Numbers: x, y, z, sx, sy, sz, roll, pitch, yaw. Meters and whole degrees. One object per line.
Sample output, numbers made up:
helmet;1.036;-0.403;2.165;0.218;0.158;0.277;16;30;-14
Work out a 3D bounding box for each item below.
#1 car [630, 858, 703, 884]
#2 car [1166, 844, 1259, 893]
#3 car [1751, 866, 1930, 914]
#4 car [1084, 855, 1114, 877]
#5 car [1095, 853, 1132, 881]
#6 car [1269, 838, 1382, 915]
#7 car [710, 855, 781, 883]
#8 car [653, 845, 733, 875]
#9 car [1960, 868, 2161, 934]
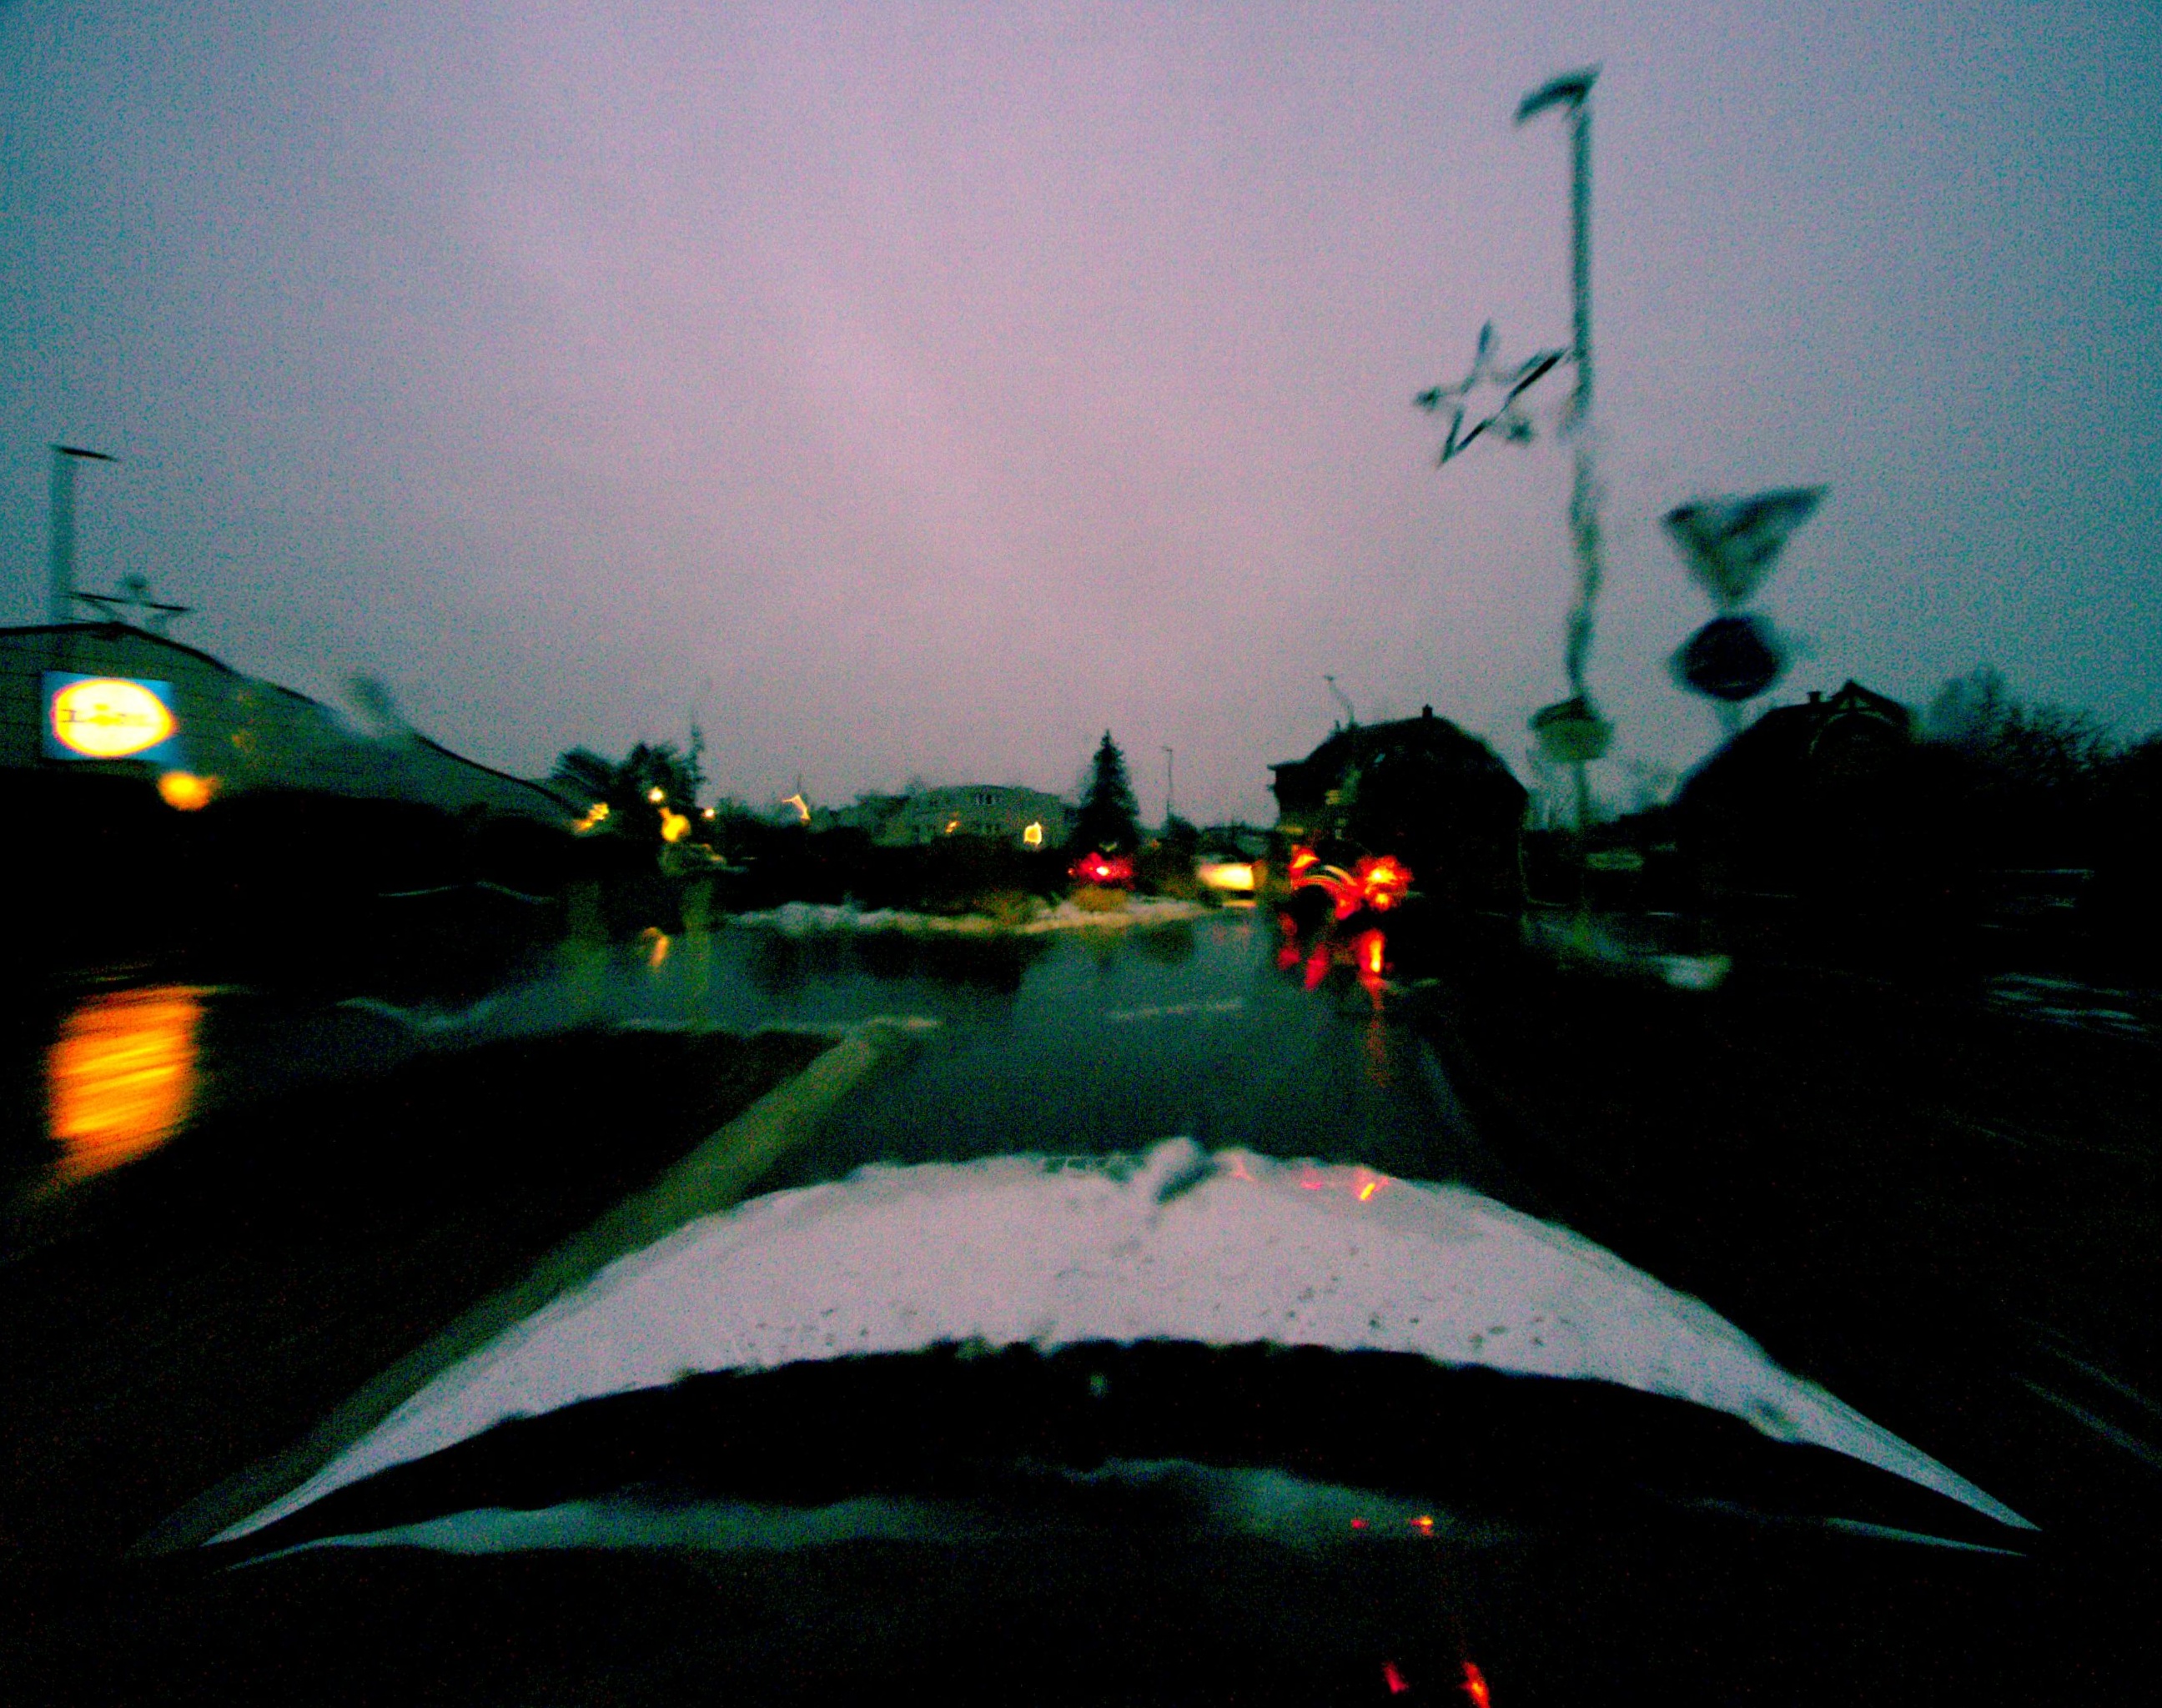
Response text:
car;-23.520;0.971;46.181;3.949;1.311;1.853;1;-1;31
car;4.897;0.490;31.102;2.163;1.689;4.556;-1;1;-10
car;32.548;1.470;35.050;2.378;1.865;5.272;0;-1;-36
car;1.256;0.900;58.874;1.878;1.548;4.566;0;-2;-2
car;1.897;0.832;49.060;1.878;1.615;4.566;0;-2;-2
car;5.959;0.497;20.305;1.935;1.718;4.006;0;0;5
car;-20.602;0.910;49.913;4.226;1.561;2.078;1;-1;37
car;-30.229;0.497;63.626;2.008;2.134;5.454;1;-1;27
car;33.023;1.519;26.916;1.947;1.919;5.191;3;-1;-35
